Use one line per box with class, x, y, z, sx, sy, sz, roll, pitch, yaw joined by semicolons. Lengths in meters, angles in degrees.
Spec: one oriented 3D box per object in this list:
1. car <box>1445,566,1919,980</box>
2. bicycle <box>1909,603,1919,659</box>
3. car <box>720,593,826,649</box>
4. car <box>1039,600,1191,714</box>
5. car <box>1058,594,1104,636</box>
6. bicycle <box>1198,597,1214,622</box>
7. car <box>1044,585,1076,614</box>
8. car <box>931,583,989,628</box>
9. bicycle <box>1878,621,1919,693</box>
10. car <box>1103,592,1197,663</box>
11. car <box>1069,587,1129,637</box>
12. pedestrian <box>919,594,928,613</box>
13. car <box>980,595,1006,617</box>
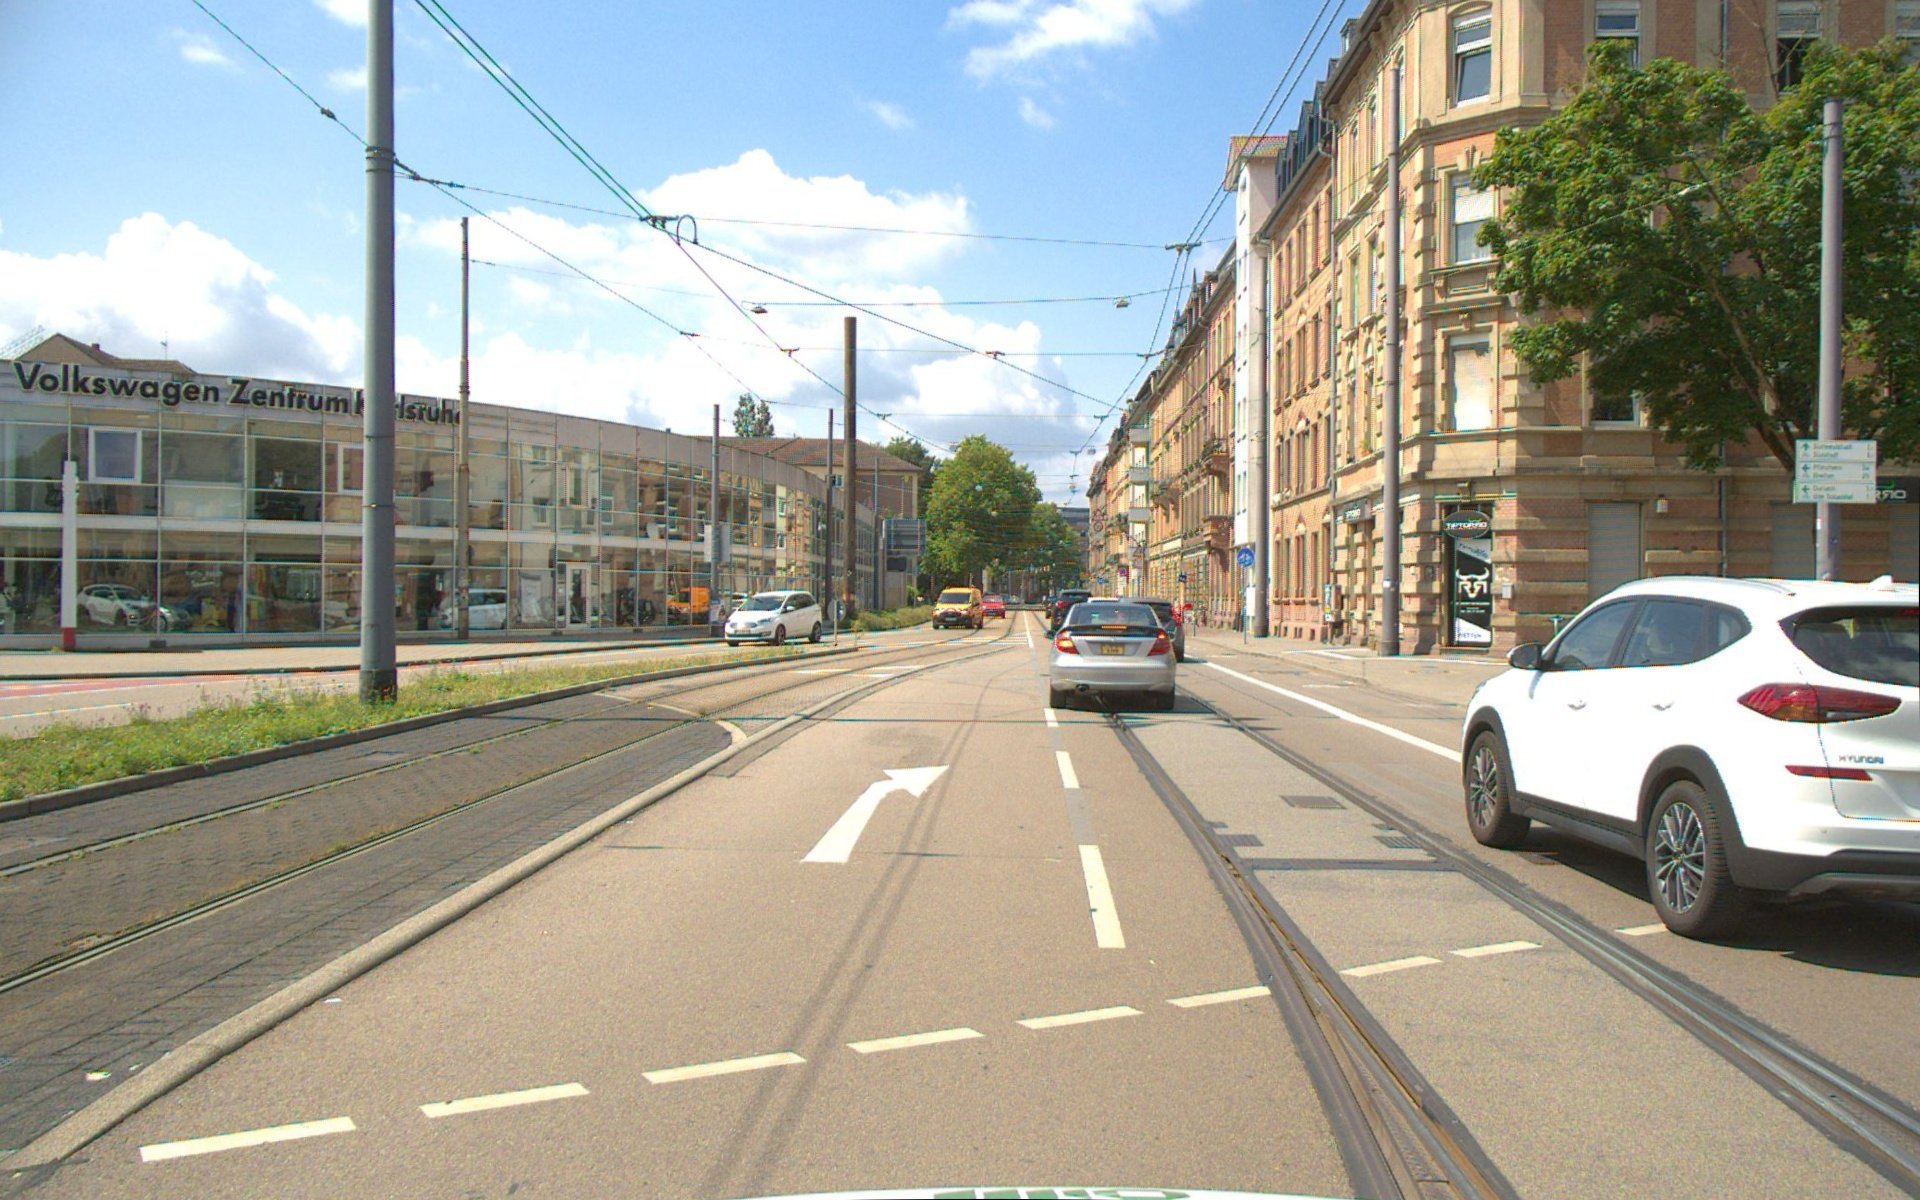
car;4.189;0.714;8.804;1.815;1.662;4.179;2;0;-2
bicycle;19.588;0.609;32.338;1.611;1.068;0.765;0;1;10
car;-5.833;0.635;52.205;1.729;1.632;4.497;-1;1;15
car;2.084;0.730;23.267;1.777;1.445;4.187;0;0;0
car;5.049;0.601;69.254;1.777;1.691;4.086;0;0;2
bicycle;11.947;0.451;80.389;0.574;1.199;2.206;0;1;3
car;6.683;-0.049;110.805;1.952;1.892;4.000;0;1;1
car;0.017;0.202;73.631;1.870;1.898;4.371;-1;1;9
bicycle;15.628;0.904;26.237;1.003;1.100;2.265;-1;0;5
car;4.481;0.610;39.530;1.777;1.550;4.085;0;1;0
car;4.537;0.375;54.289;1.777;1.551;3.956;0;0;2
pedestrian;-3.826;0.375;174.918;0.861;1.898;1.081;-1;0;2
car;2.199;0.384;109.280;1.666;1.453;3.903;0;0;2
